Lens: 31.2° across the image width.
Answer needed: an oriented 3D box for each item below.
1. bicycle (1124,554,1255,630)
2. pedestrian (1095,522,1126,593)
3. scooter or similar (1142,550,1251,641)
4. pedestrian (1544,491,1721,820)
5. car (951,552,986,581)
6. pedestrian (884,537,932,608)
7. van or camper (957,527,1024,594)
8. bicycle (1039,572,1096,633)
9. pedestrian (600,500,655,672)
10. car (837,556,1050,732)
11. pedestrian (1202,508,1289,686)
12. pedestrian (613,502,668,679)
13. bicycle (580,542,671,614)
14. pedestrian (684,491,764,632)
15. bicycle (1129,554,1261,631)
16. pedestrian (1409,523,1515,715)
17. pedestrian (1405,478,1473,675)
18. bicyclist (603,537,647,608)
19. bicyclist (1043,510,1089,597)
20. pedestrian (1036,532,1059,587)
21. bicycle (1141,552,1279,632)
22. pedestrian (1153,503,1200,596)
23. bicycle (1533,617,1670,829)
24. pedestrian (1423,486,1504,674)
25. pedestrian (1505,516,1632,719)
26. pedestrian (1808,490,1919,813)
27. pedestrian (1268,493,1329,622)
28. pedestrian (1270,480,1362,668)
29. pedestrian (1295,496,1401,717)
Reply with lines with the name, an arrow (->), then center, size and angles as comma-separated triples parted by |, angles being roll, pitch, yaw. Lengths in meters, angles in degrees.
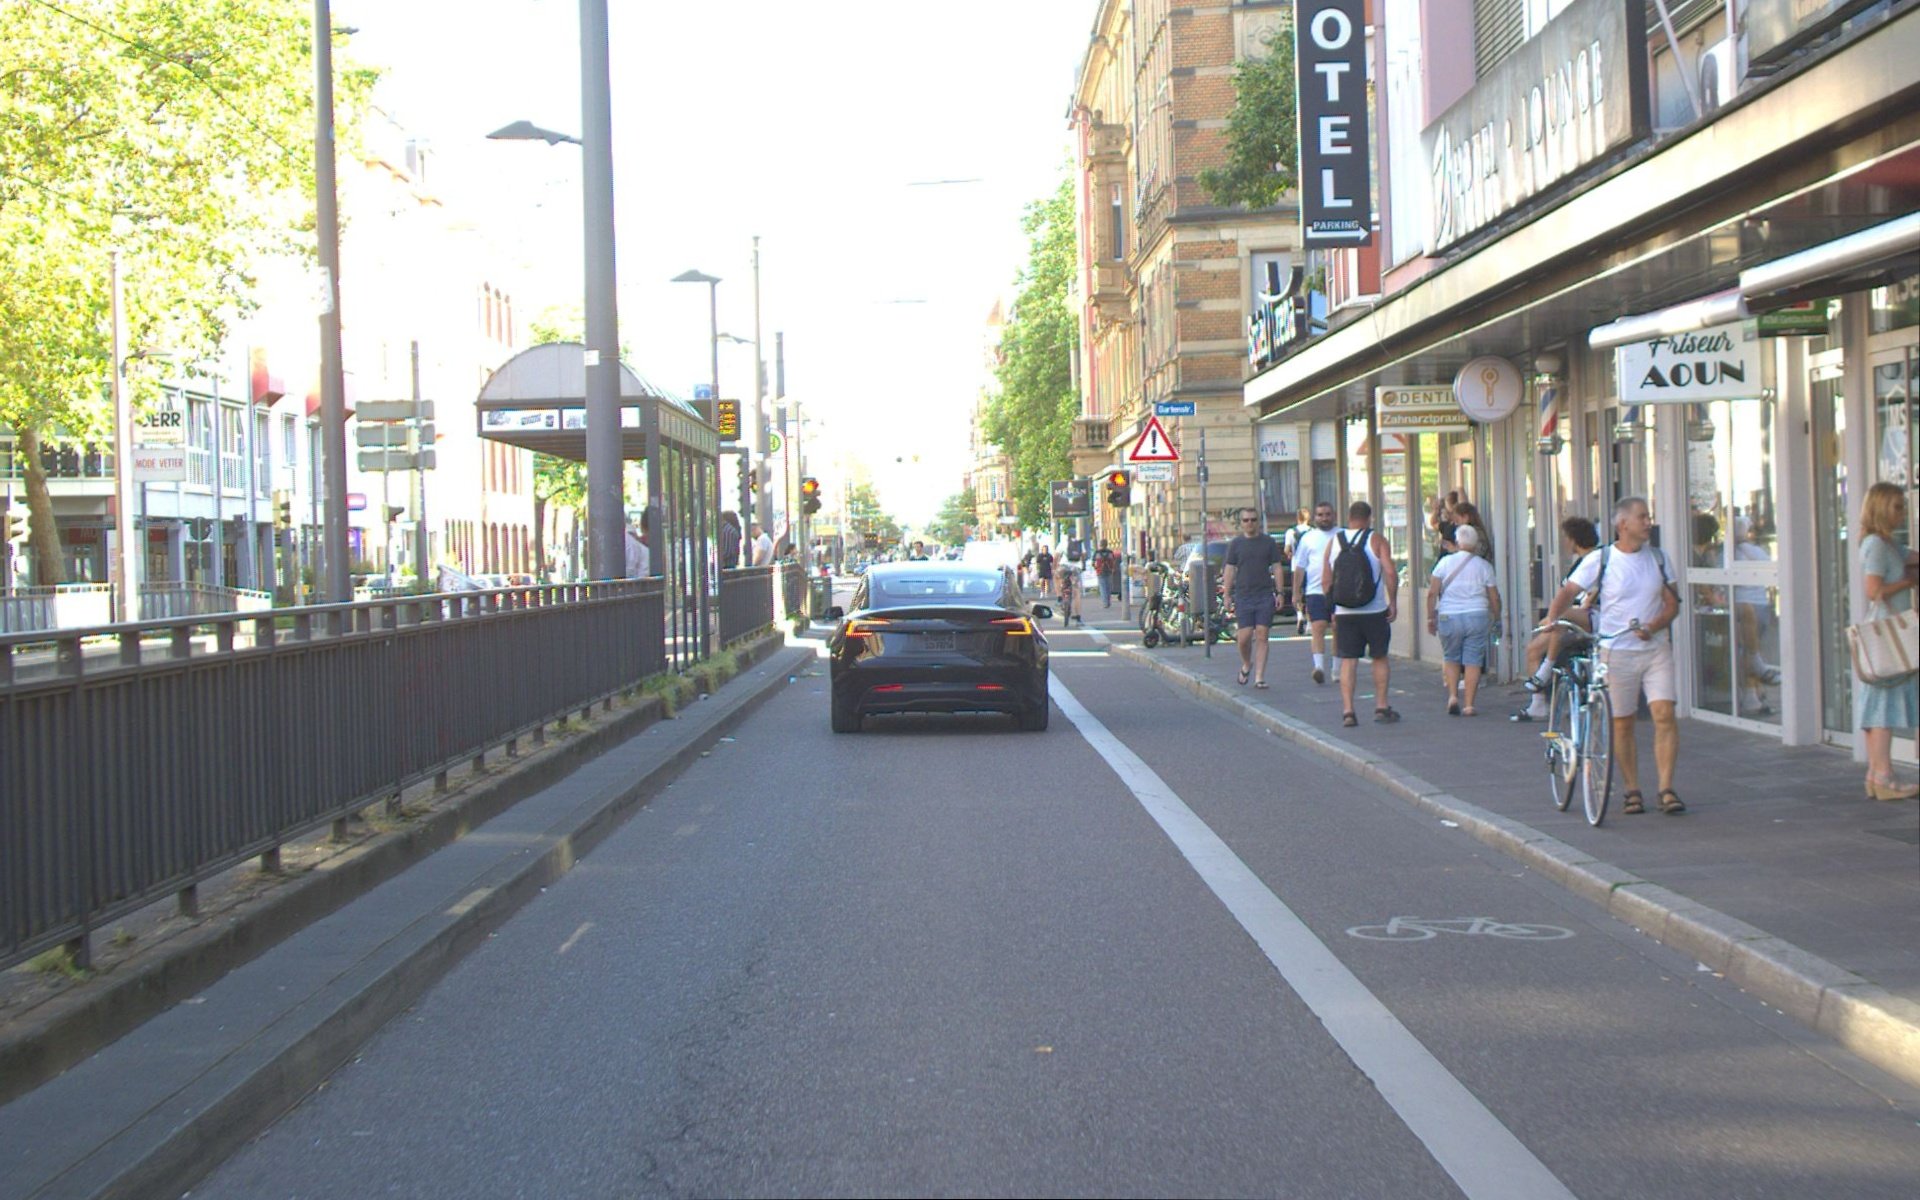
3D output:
bicycle -> 3.563, -0.130, 53.357 | 1.945, 1.103, 0.564 | -2, 1, -2
pedestrian -> 3.709, -1.053, 84.720 | 0.470, 1.722, 0.586 | -1, 2, 36
scooter or similar -> 3.433, -0.073, 50.025 | 1.478, 1.225, 0.591 | -3, 1, 0
pedestrian -> 3.462, 0.275, 17.740 | 0.663, 1.625, 0.705 | -4, 1, -1
car -> 0.433, -1.727, 177.453 | 1.710, 1.452, 4.550 | -1, 0, -1
pedestrian -> -1.143, -0.605, 76.390 | 0.843, 1.543, 0.698 | -1, 1, 19
van or camper -> 0.911, -1.203, 106.402 | 1.931, 2.030, 5.475 | 0, 0, -1
bicycle -> 2.058, 0.033, 66.159 | 0.647, 1.135, 2.096 | -1, 1, -11
pedestrian -> -3.067, -0.131, 31.743 | 0.424, 1.568, 0.592 | -1, 1, 0
car -> -0.176, 0.334, 29.742 | 1.719, 1.400, 3.710 | 0, 1, -1
pedestrian -> 2.852, -0.036, 34.426 | 0.667, 1.723, 0.810 | -4, 1, -1
pedestrian -> -2.860, -0.086, 30.757 | 0.424, 1.568, 0.448 | -1, 1, 0
bicycle -> -7.243, -0.484, 74.457 | 1.950, 1.511, 0.634 | -1, 1, -43
pedestrian -> -3.100, -0.503, 45.089 | 0.770, 1.825, 0.804 | 0, 0, -30
bicycle -> 3.599, -0.125, 52.710 | 1.945, 1.103, 0.564 | -2, 1, -2
pedestrian -> 4.009, 0.145, 27.472 | 0.636, 1.478, 0.654 | -4, 1, -1
pedestrian -> 4.577, -0.227, 32.870 | 0.451, 1.843, 0.812 | -3, 1, 0
bicyclist -> -7.255, -0.596, 74.442 | 0.679, 1.511, 0.634 | -1, 1, -43
bicyclist -> 2.032, -0.900, 66.127 | 0.655, 1.650, 0.927 | -1, 0, -12
pedestrian -> 2.955, -1.365, 116.079 | 0.672, 1.808, 0.756 | -1, 0, -1
bicycle -> 3.677, -0.115, 50.681 | 1.945, 1.103, 0.564 | -2, 1, -2
pedestrian -> 4.272, -1.002, 67.772 | 0.847, 1.801, 0.876 | -2, 2, 5
bicycle -> 3.284, 0.607, 17.693 | 0.302, 0.986, 1.760 | -3, 1, -1
pedestrian -> 4.824, -0.198, 32.981 | 0.629, 1.763, 0.501 | -3, 1, 0
pedestrian -> 4.599, 0.126, 26.012 | 0.738, 1.467, 0.707 | -4, 1, 1
pedestrian -> 4.671, 0.246, 17.313 | 0.600, 1.584, 0.554 | -2, 1, -1
pedestrian -> 5.323, -0.655, 54.027 | 0.716, 1.978, 0.942 | -1, -3, 21
pedestrian -> 3.568, -0.264, 34.503 | 0.706, 1.814, 0.763 | -4, 1, 0
pedestrian -> 3.066, 0.048, 27.212 | 0.744, 1.721, 0.814 | 0, 1, 0
